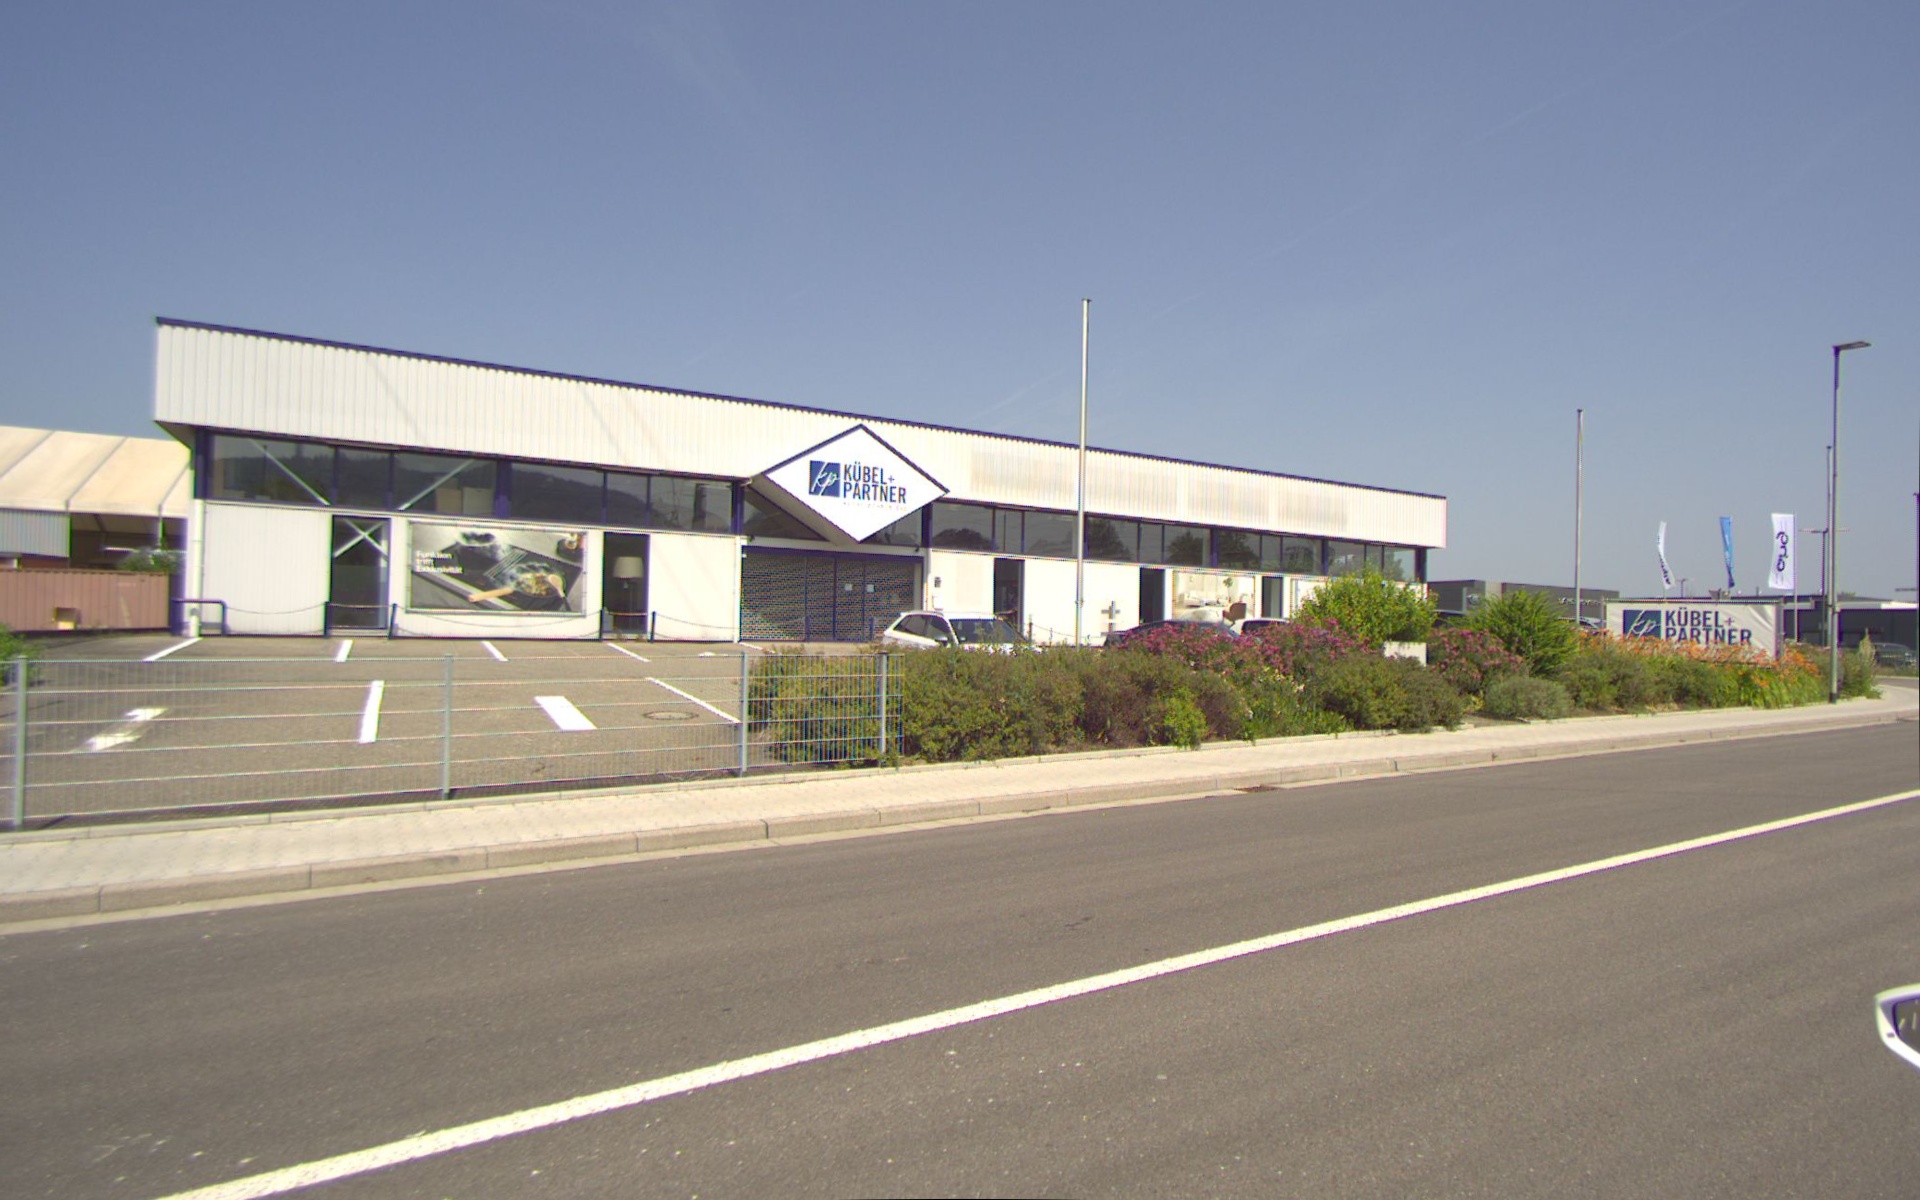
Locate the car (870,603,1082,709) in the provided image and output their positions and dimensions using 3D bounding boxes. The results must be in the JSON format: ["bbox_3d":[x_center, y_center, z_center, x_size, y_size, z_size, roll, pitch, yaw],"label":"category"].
[{"bbox_3d":[0.129,0.875,17.459,1.744,1.475,4.202,2,1,-30],"label":"car"}]

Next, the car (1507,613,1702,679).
[{"bbox_3d":[17.753,1.254,27.885,1.814,1.669,4.201,1,-2,-32],"label":"car"}]

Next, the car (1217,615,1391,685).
[{"bbox_3d":[7.524,1.050,22.263,1.487,1.271,3.491,2,1,-30],"label":"car"}]

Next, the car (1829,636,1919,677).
[{"bbox_3d":[45.929,2.805,49.800,2.024,1.889,4.683,2,-2,8],"label":"car"}]

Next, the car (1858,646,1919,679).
[{"bbox_3d":[49.068,3.209,51.616,1.865,1.653,3.968,1,-2,-30],"label":"car"}]

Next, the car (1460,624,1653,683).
[{"bbox_3d":[15.711,1.380,26.623,1.981,1.432,3.960,2,-2,-36],"label":"car"}]
